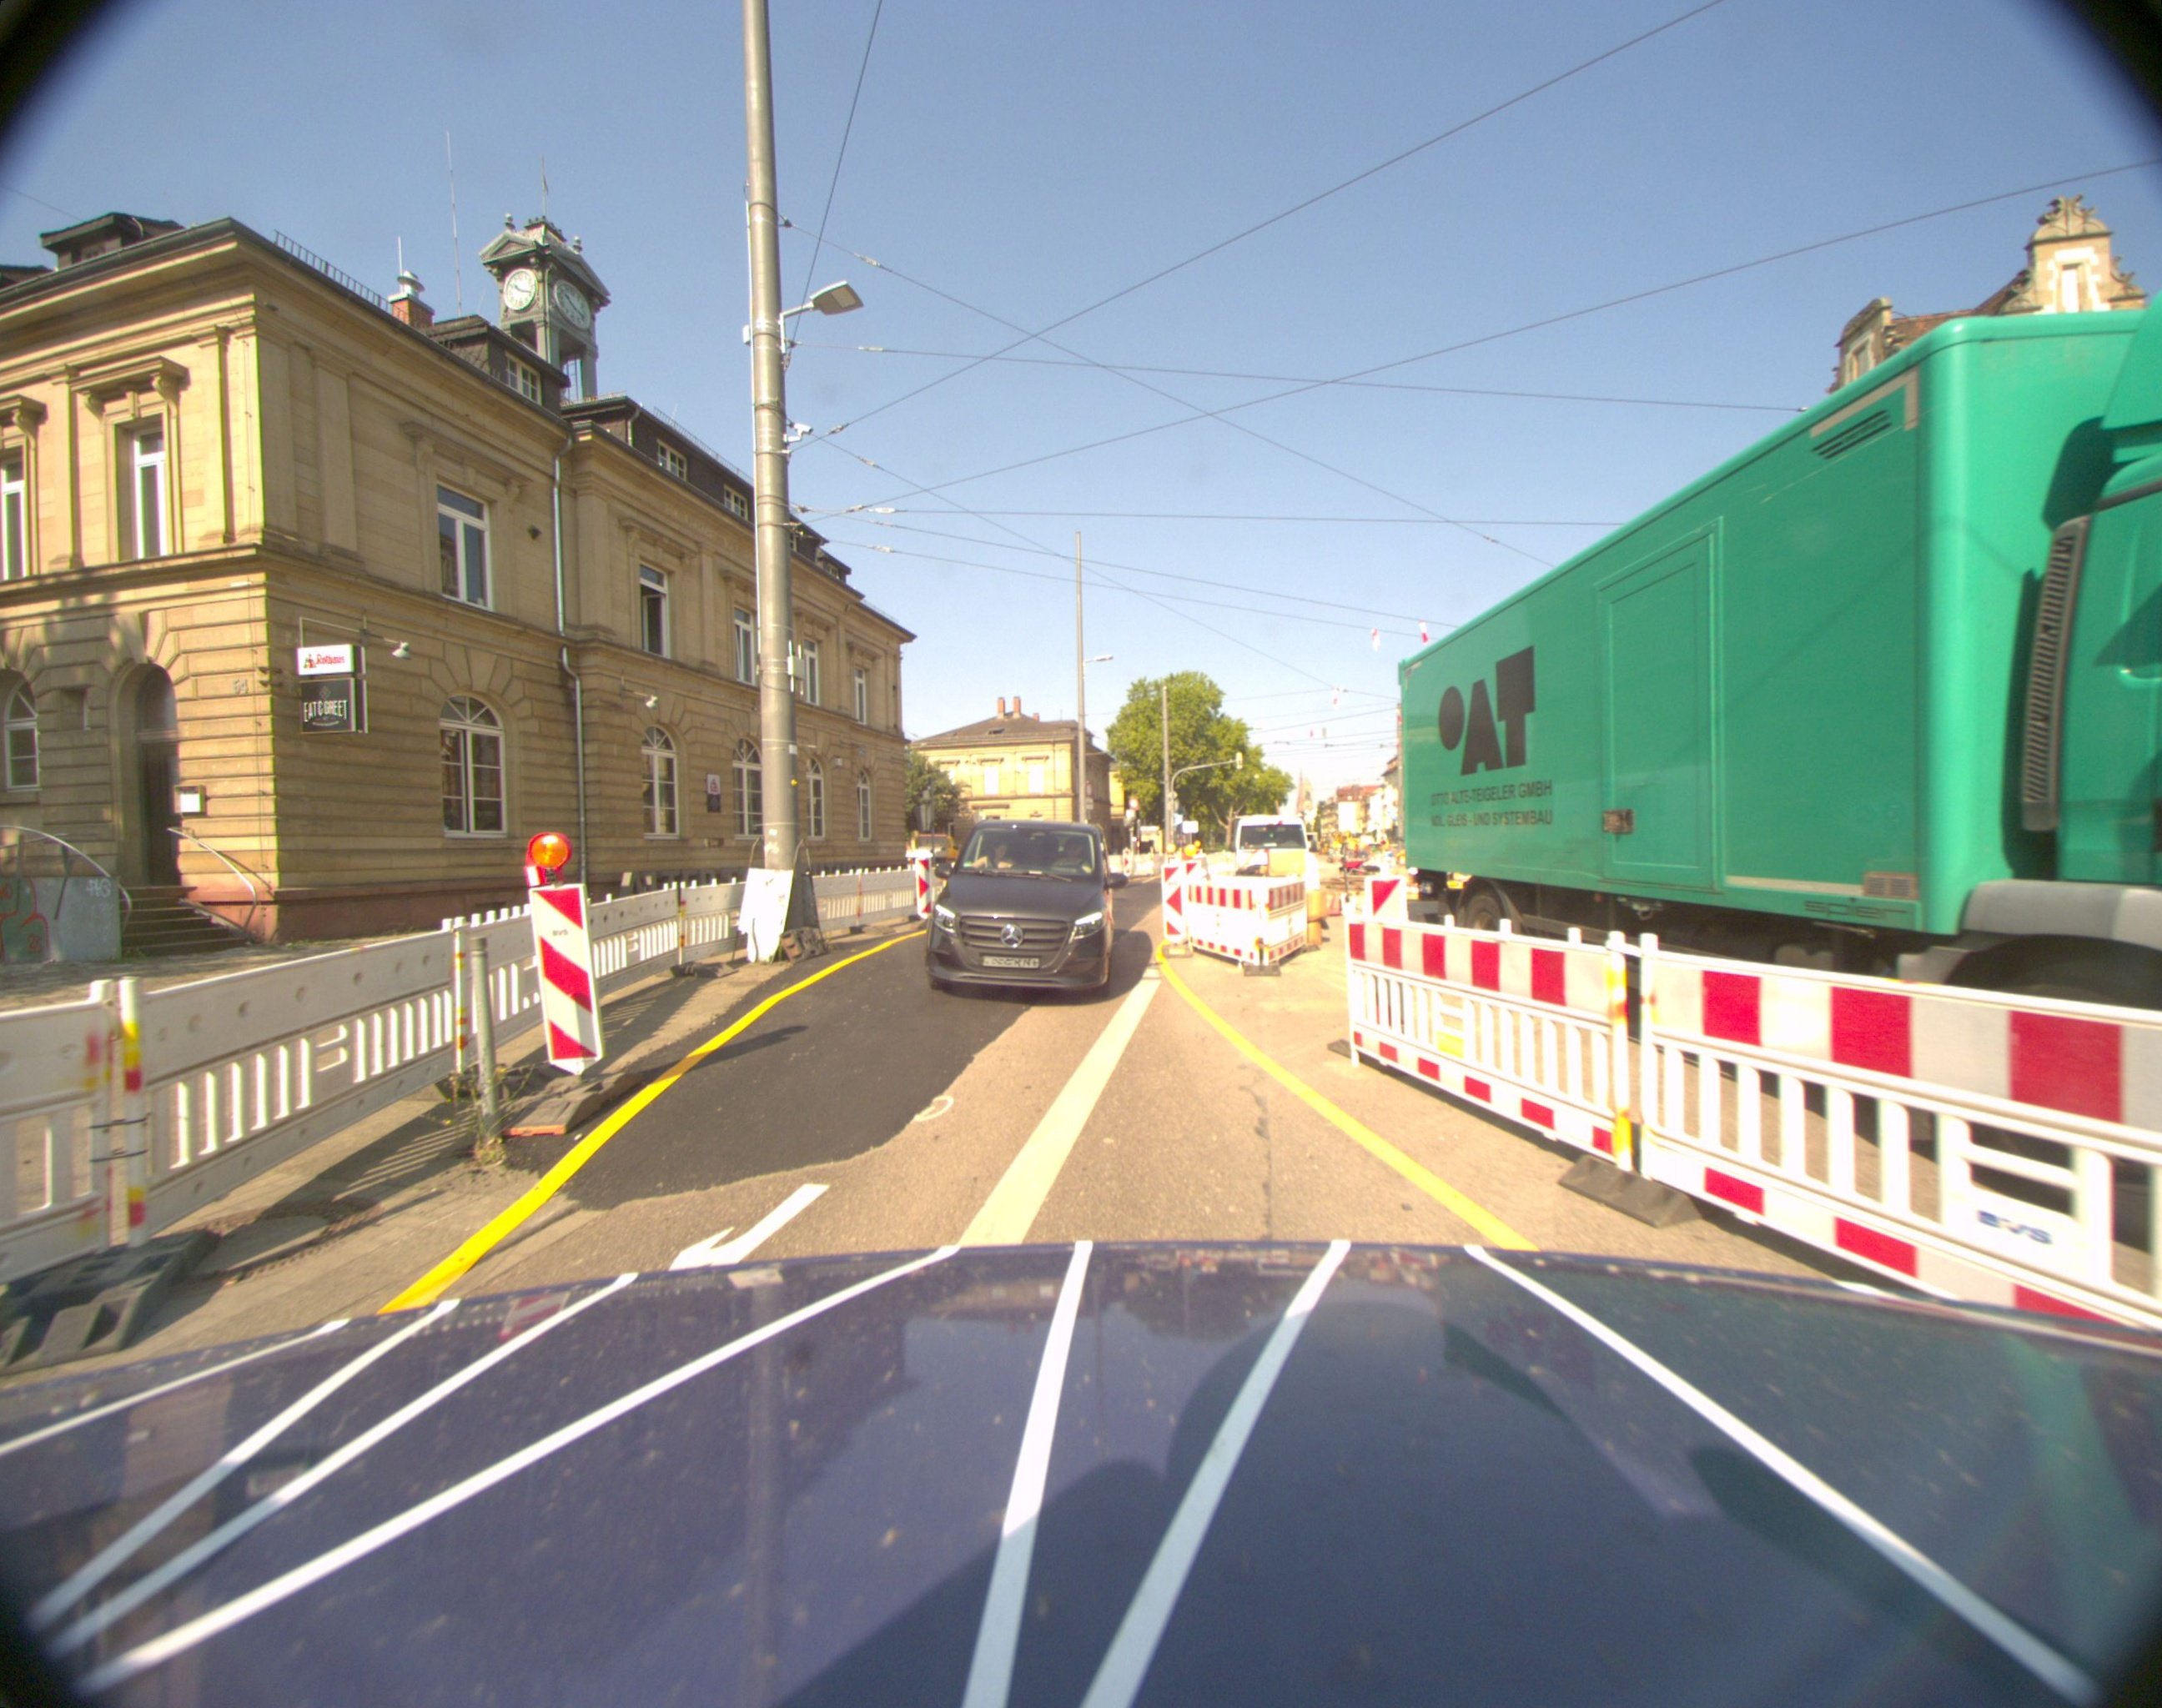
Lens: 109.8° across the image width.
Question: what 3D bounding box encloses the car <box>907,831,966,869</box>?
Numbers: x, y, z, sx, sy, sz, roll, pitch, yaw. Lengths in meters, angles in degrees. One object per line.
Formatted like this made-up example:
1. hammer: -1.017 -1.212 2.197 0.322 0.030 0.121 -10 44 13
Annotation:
1. car: -9.962 -0.320 52.952 2.262 2.409 5.491 -1 1 9

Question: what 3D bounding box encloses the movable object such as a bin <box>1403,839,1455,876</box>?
1. movable object such as a bin: 15.630 0.124 34.251 1.602 1.550 3.289 -1 1 15

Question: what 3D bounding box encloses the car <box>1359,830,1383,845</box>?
1. car: 43.185 -2.501 113.401 2.364 2.123 7.127 -1 1 13

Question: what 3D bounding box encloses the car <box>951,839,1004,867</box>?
1. car: -6.785 -0.060 50.204 1.906 1.773 4.230 0 1 16

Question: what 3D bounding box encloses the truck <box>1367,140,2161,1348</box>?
1. truck: 4.930 -0.386 5.115 2.799 3.890 8.418 -3 0 1

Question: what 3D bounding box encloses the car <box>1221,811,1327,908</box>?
1. car: 5.499 0.061 22.647 2.211 2.410 7.202 -1 1 8

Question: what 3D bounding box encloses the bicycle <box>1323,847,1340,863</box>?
1. bicycle: 17.797 0.059 54.006 0.563 1.092 1.967 -3 2 4

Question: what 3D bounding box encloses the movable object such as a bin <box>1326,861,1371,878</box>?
1. movable object such as a bin: 11.689 0.670 33.202 0.719 0.709 1.718 -3 2 -44

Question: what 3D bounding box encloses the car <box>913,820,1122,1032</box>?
1. car: -0.479 0.631 9.069 1.852 1.875 4.179 2 1 3

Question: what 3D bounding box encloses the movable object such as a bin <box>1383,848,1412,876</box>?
1. movable object such as a bin: 14.222 0.332 34.201 0.888 1.204 2.214 -1 1 15
